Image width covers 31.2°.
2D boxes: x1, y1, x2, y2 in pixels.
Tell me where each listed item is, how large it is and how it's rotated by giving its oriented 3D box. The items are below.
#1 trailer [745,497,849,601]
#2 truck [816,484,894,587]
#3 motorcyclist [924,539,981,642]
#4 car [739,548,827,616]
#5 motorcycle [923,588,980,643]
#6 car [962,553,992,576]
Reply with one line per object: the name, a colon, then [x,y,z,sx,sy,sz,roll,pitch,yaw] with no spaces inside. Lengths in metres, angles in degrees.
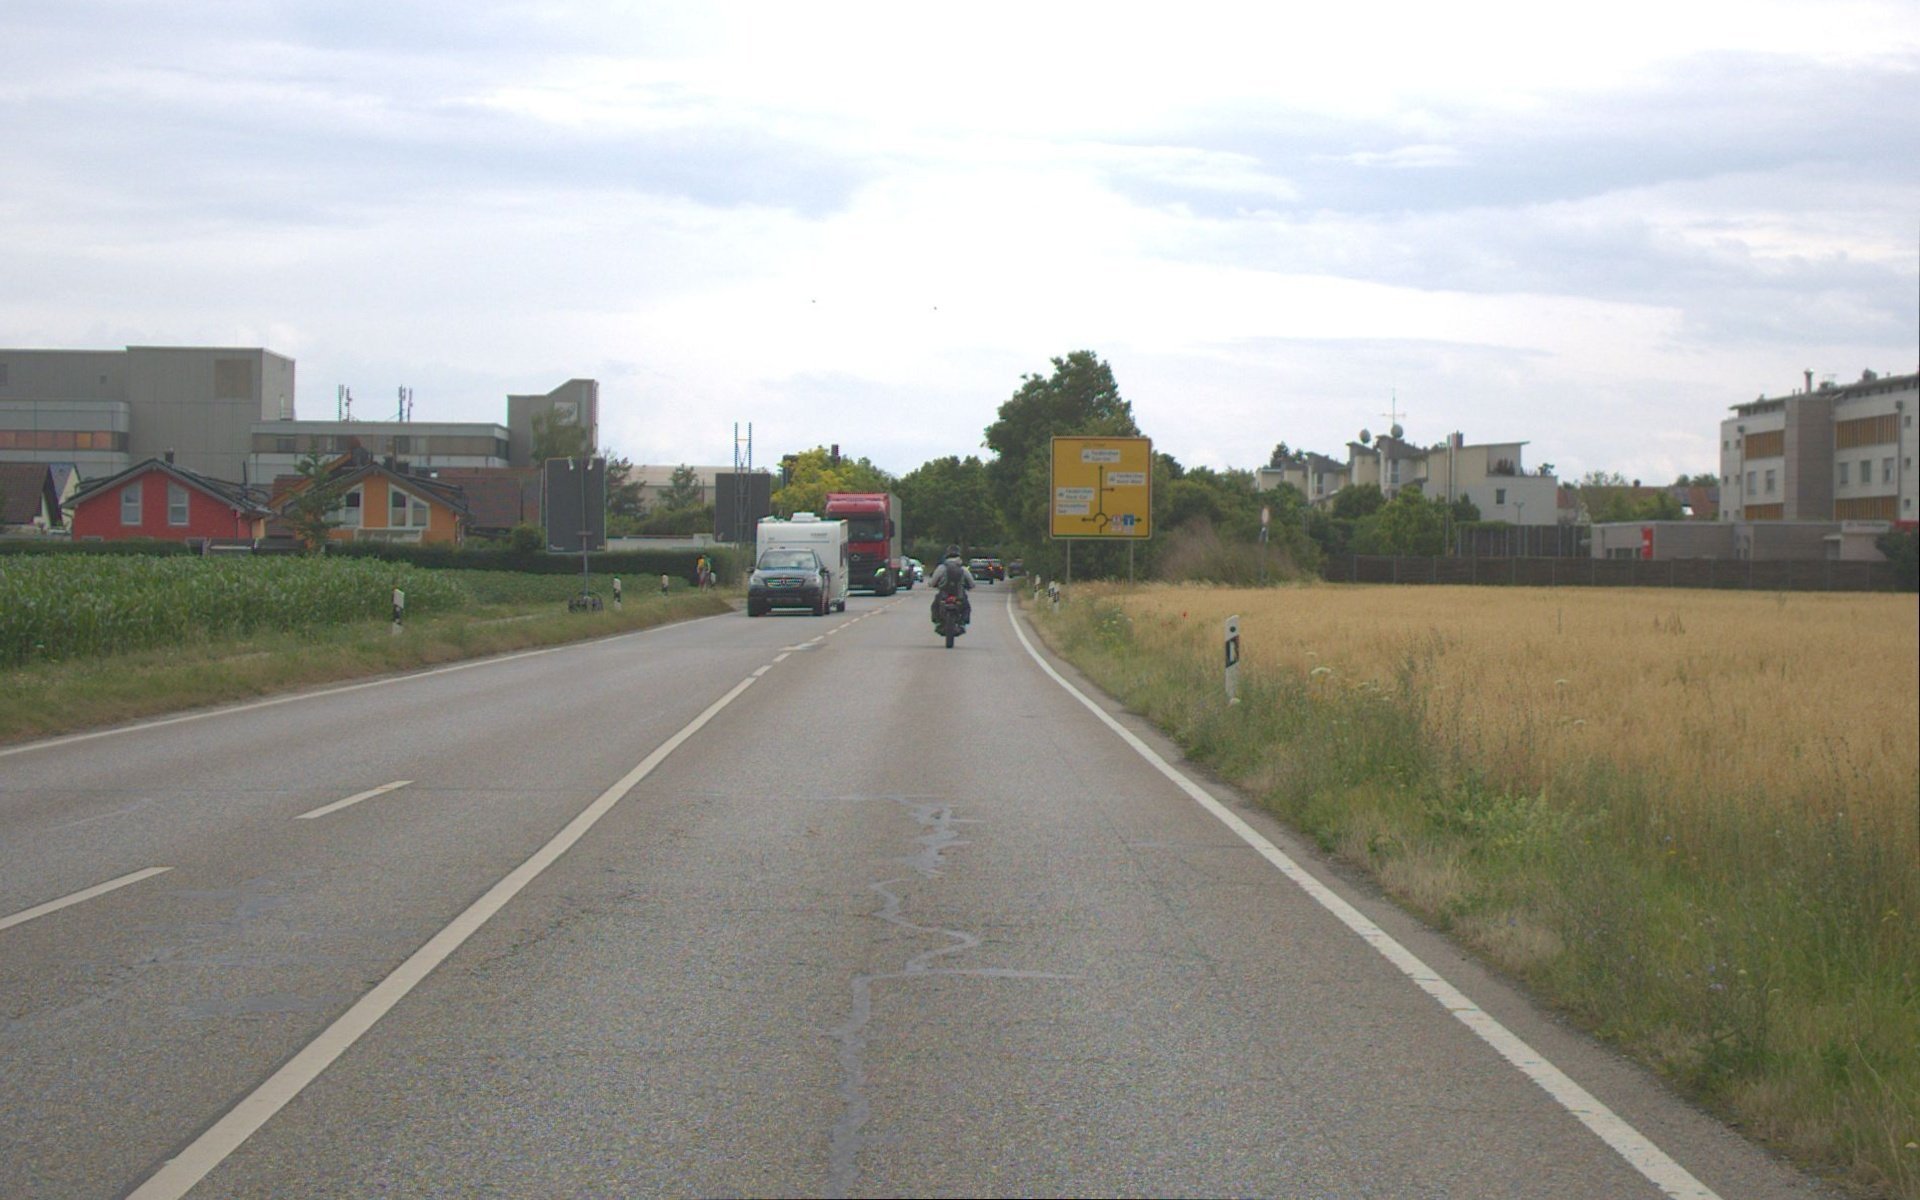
trailer: [-4.430,-1.407,94.680,2.324,2.720,7.843,0,1,1]
truck: [-4.095,-2.506,135.116,2.729,3.974,6.816,0,1,1]
motorcyclist: [-0.121,-0.175,59.039,0.941,1.744,1.200,1,1,0]
car: [-4.525,-0.488,88.703,1.993,1.693,4.676,0,1,0]
motorcycle: [-0.133,0.259,59.065,0.941,0.887,2.146,1,1,0]
car: [1.095,-2.236,216.294,1.855,1.467,4.000,1,1,1]
